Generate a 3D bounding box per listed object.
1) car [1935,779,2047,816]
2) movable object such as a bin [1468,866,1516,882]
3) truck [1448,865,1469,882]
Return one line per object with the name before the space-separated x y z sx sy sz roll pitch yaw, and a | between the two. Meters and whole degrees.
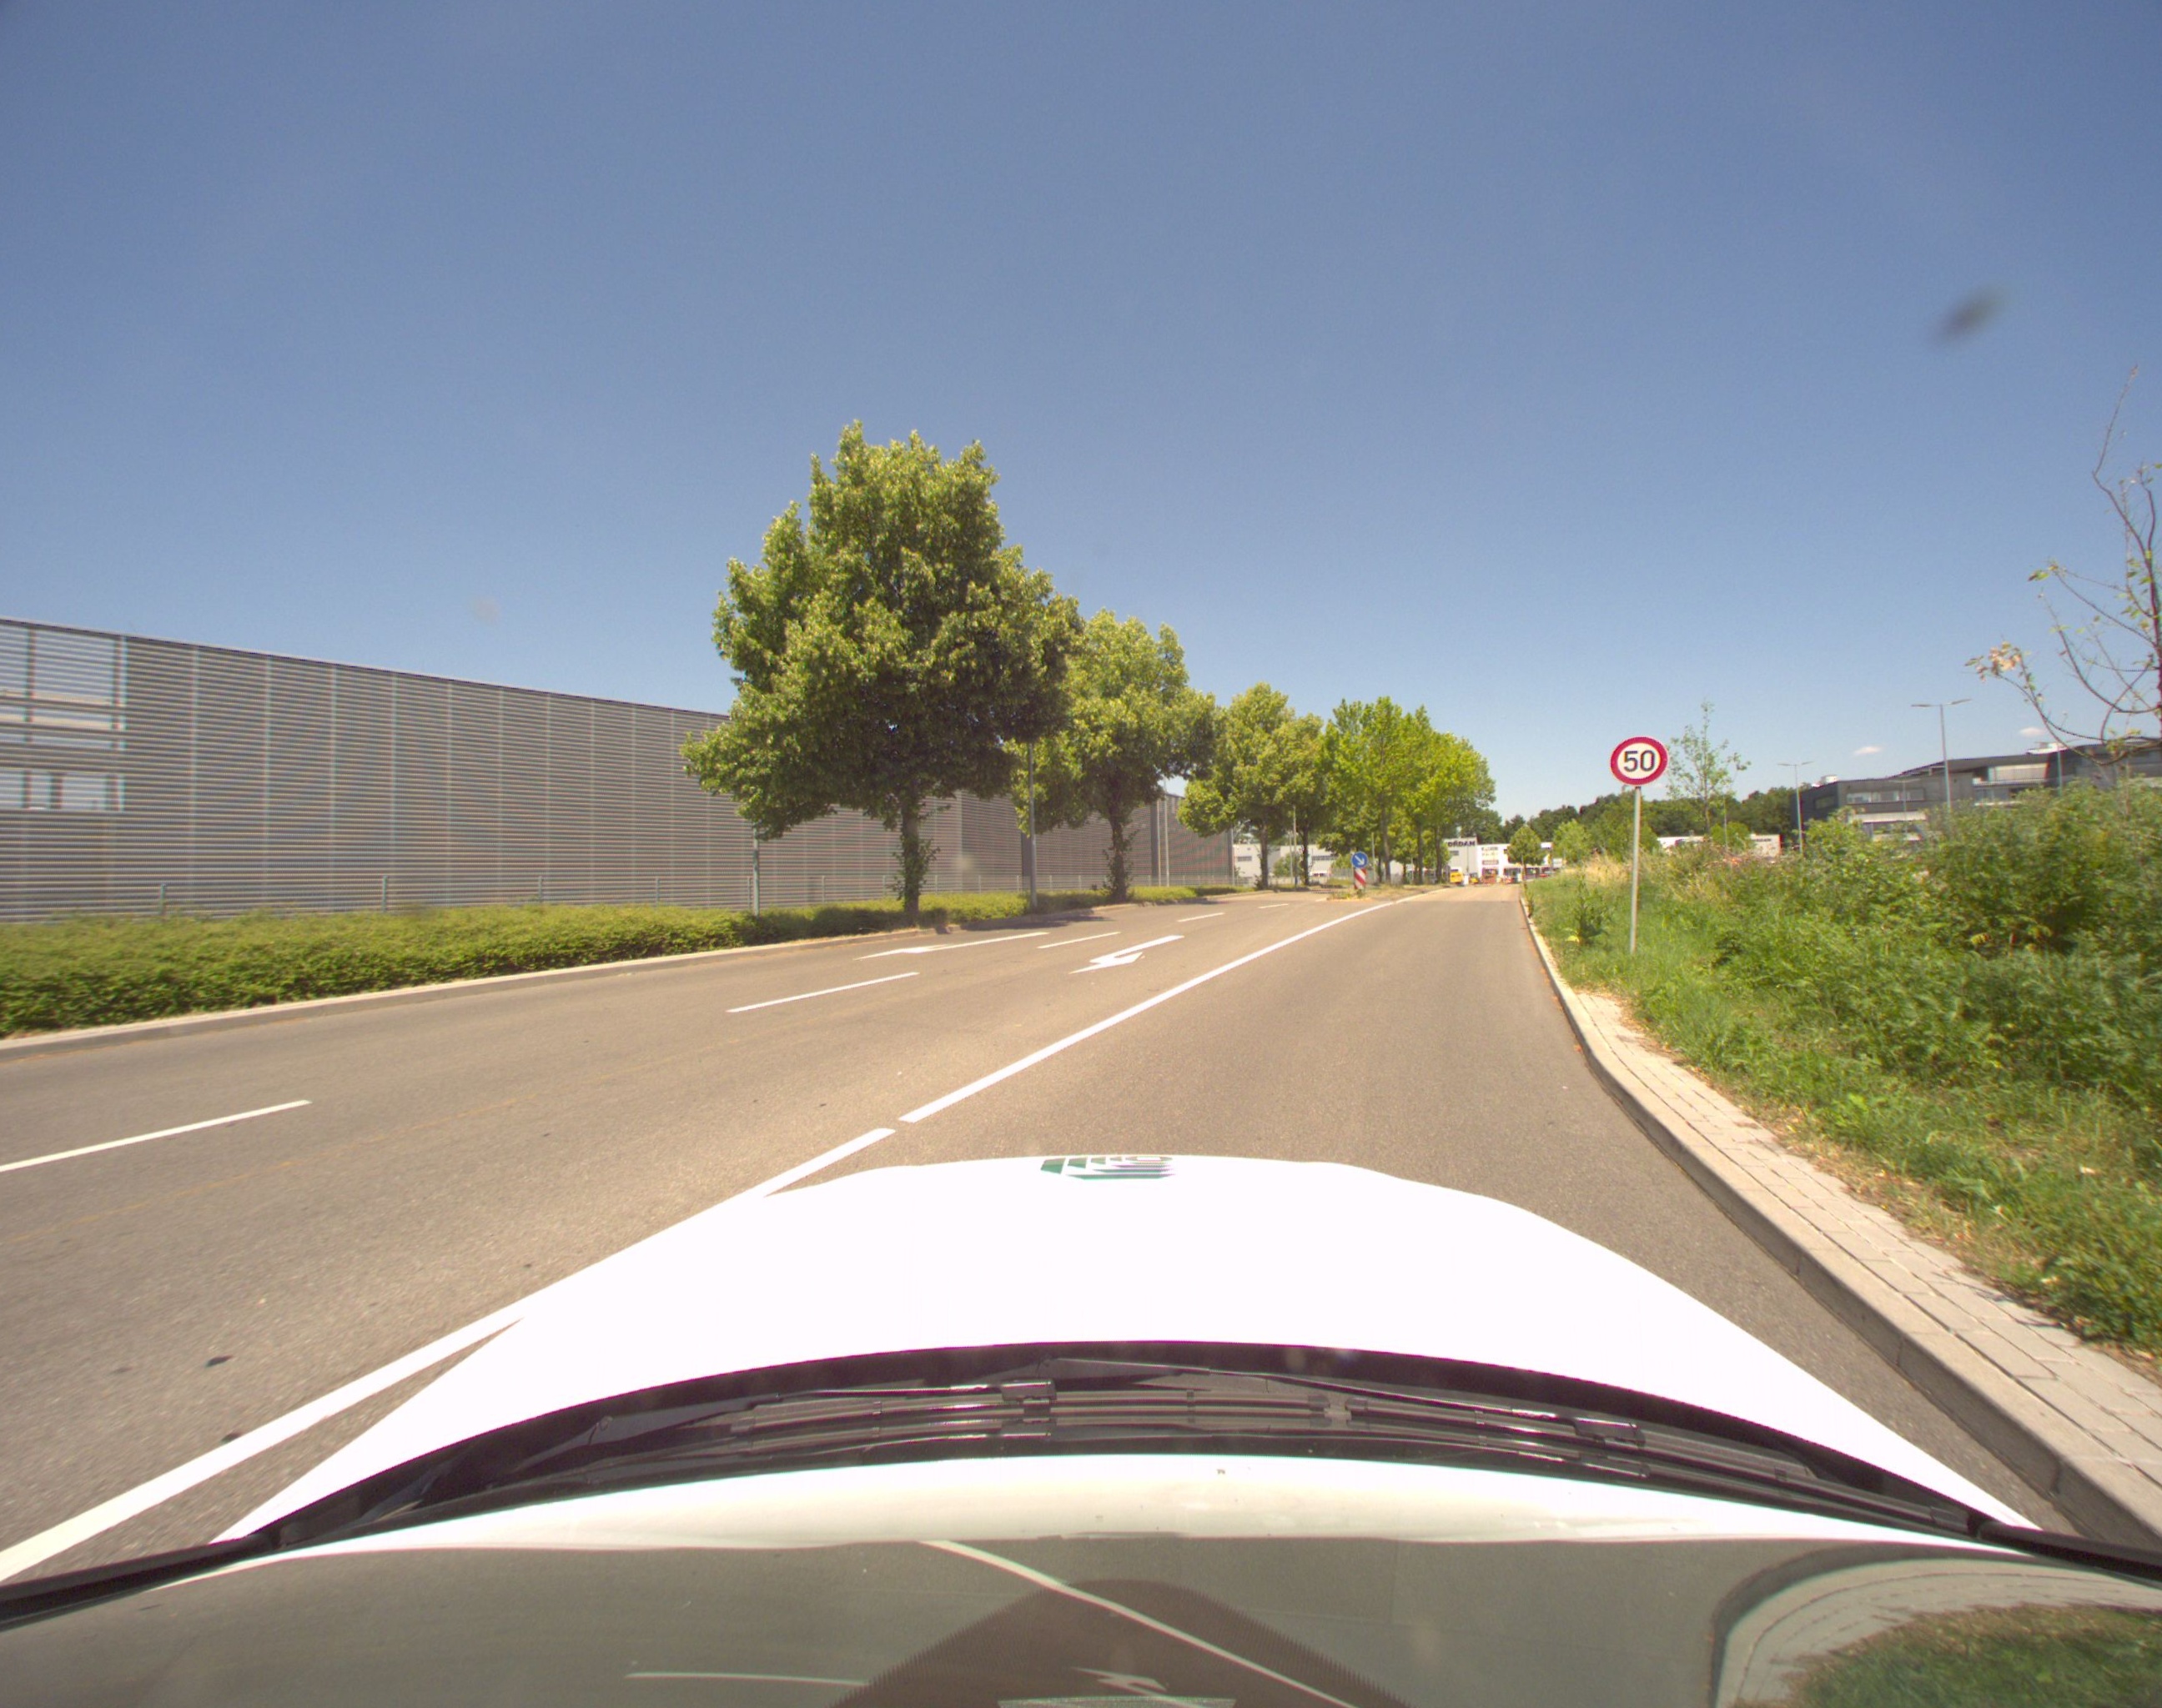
car | 54.500 -3.351 48.880 3.949 1.642 1.938 -4 -4 28
movable object such as a bin | 78.362 3.755 155.343 7.452 2.500 3.690 -5 -1 36
truck | 73.054 3.766 157.794 2.914 2.886 5.839 -5 0 20
